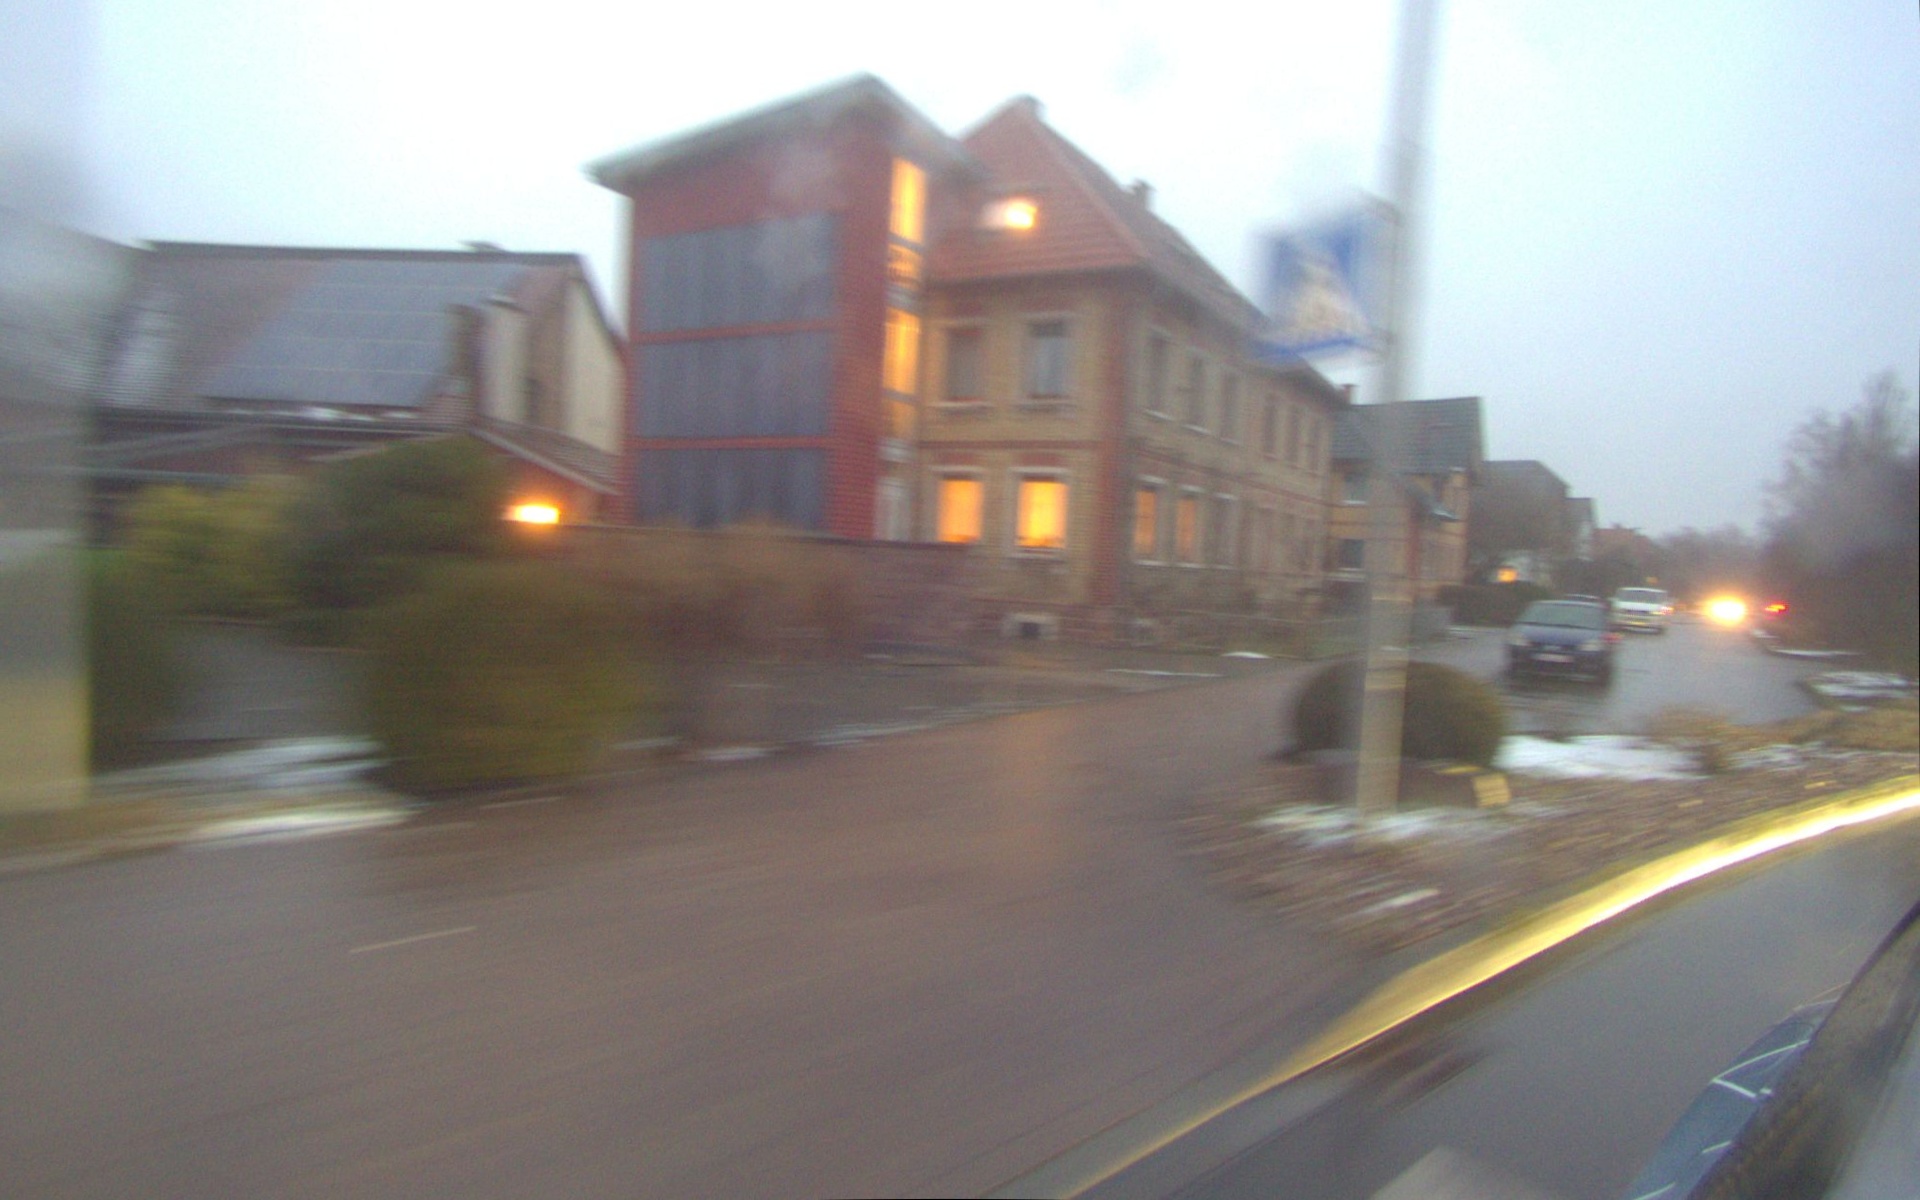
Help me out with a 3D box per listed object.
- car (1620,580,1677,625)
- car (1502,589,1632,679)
[{"bbox_3d":[30.827,0.069,45.286,1.937,1.828,4.120,3,2,35],"label":"car"},{"bbox_3d":[11.538,0.570,19.131,1.767,1.448,3.747,3,2,36],"label":"car"}]
